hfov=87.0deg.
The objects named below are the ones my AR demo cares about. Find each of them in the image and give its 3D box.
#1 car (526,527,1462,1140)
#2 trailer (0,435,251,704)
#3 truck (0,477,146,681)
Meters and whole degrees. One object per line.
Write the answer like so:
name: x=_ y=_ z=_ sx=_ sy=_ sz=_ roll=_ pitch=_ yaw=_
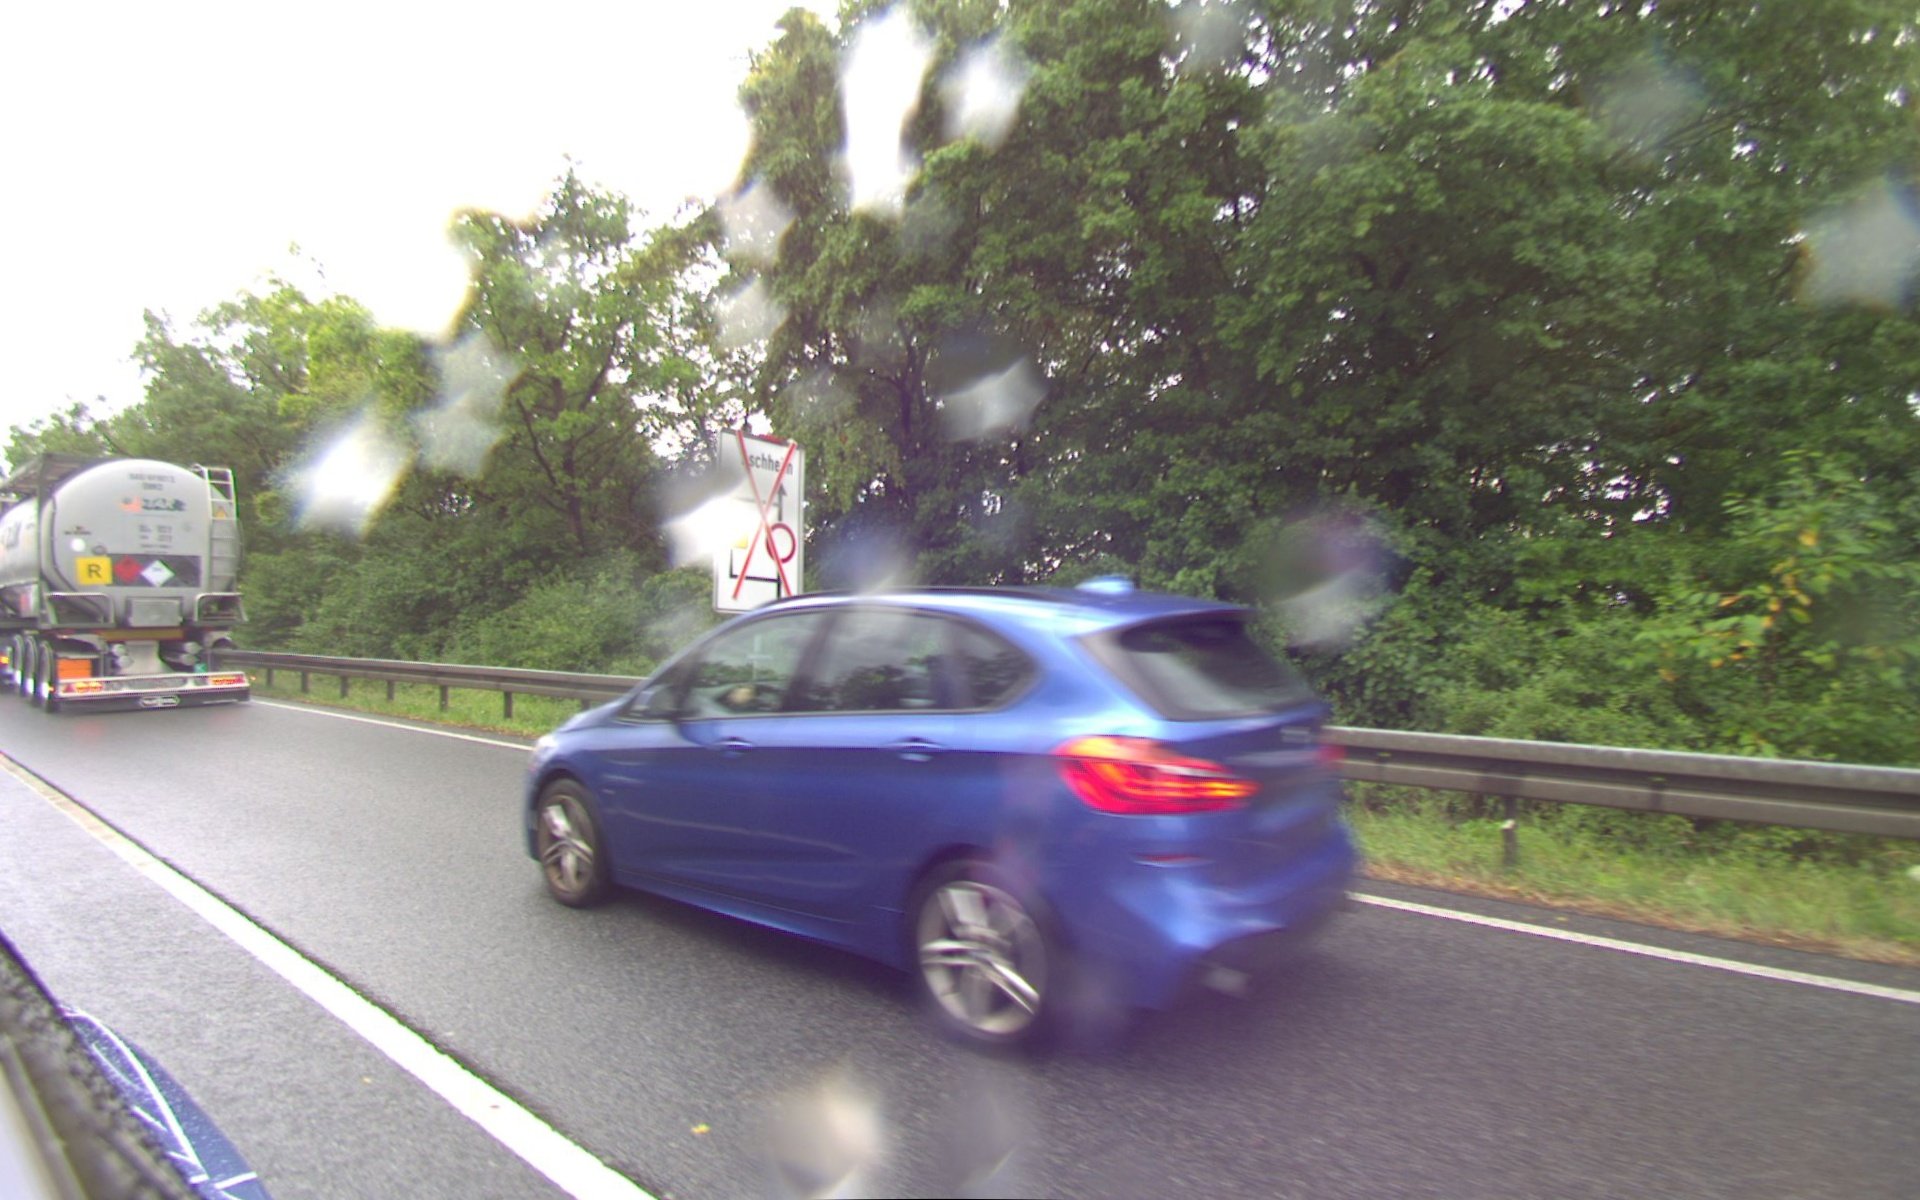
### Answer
car: x=-0.134 y=0.584 z=4.440 sx=3.910 sy=1.527 sz=1.690 roll=0 pitch=0 yaw=40
trailer: x=-15.330 y=-0.424 z=17.993 sx=7.785 sy=3.854 sz=2.511 roll=0 pitch=0 yaw=40
truck: x=-19.542 y=-0.393 z=21.500 sx=5.240 sy=3.854 sz=2.511 roll=0 pitch=0 yaw=40
